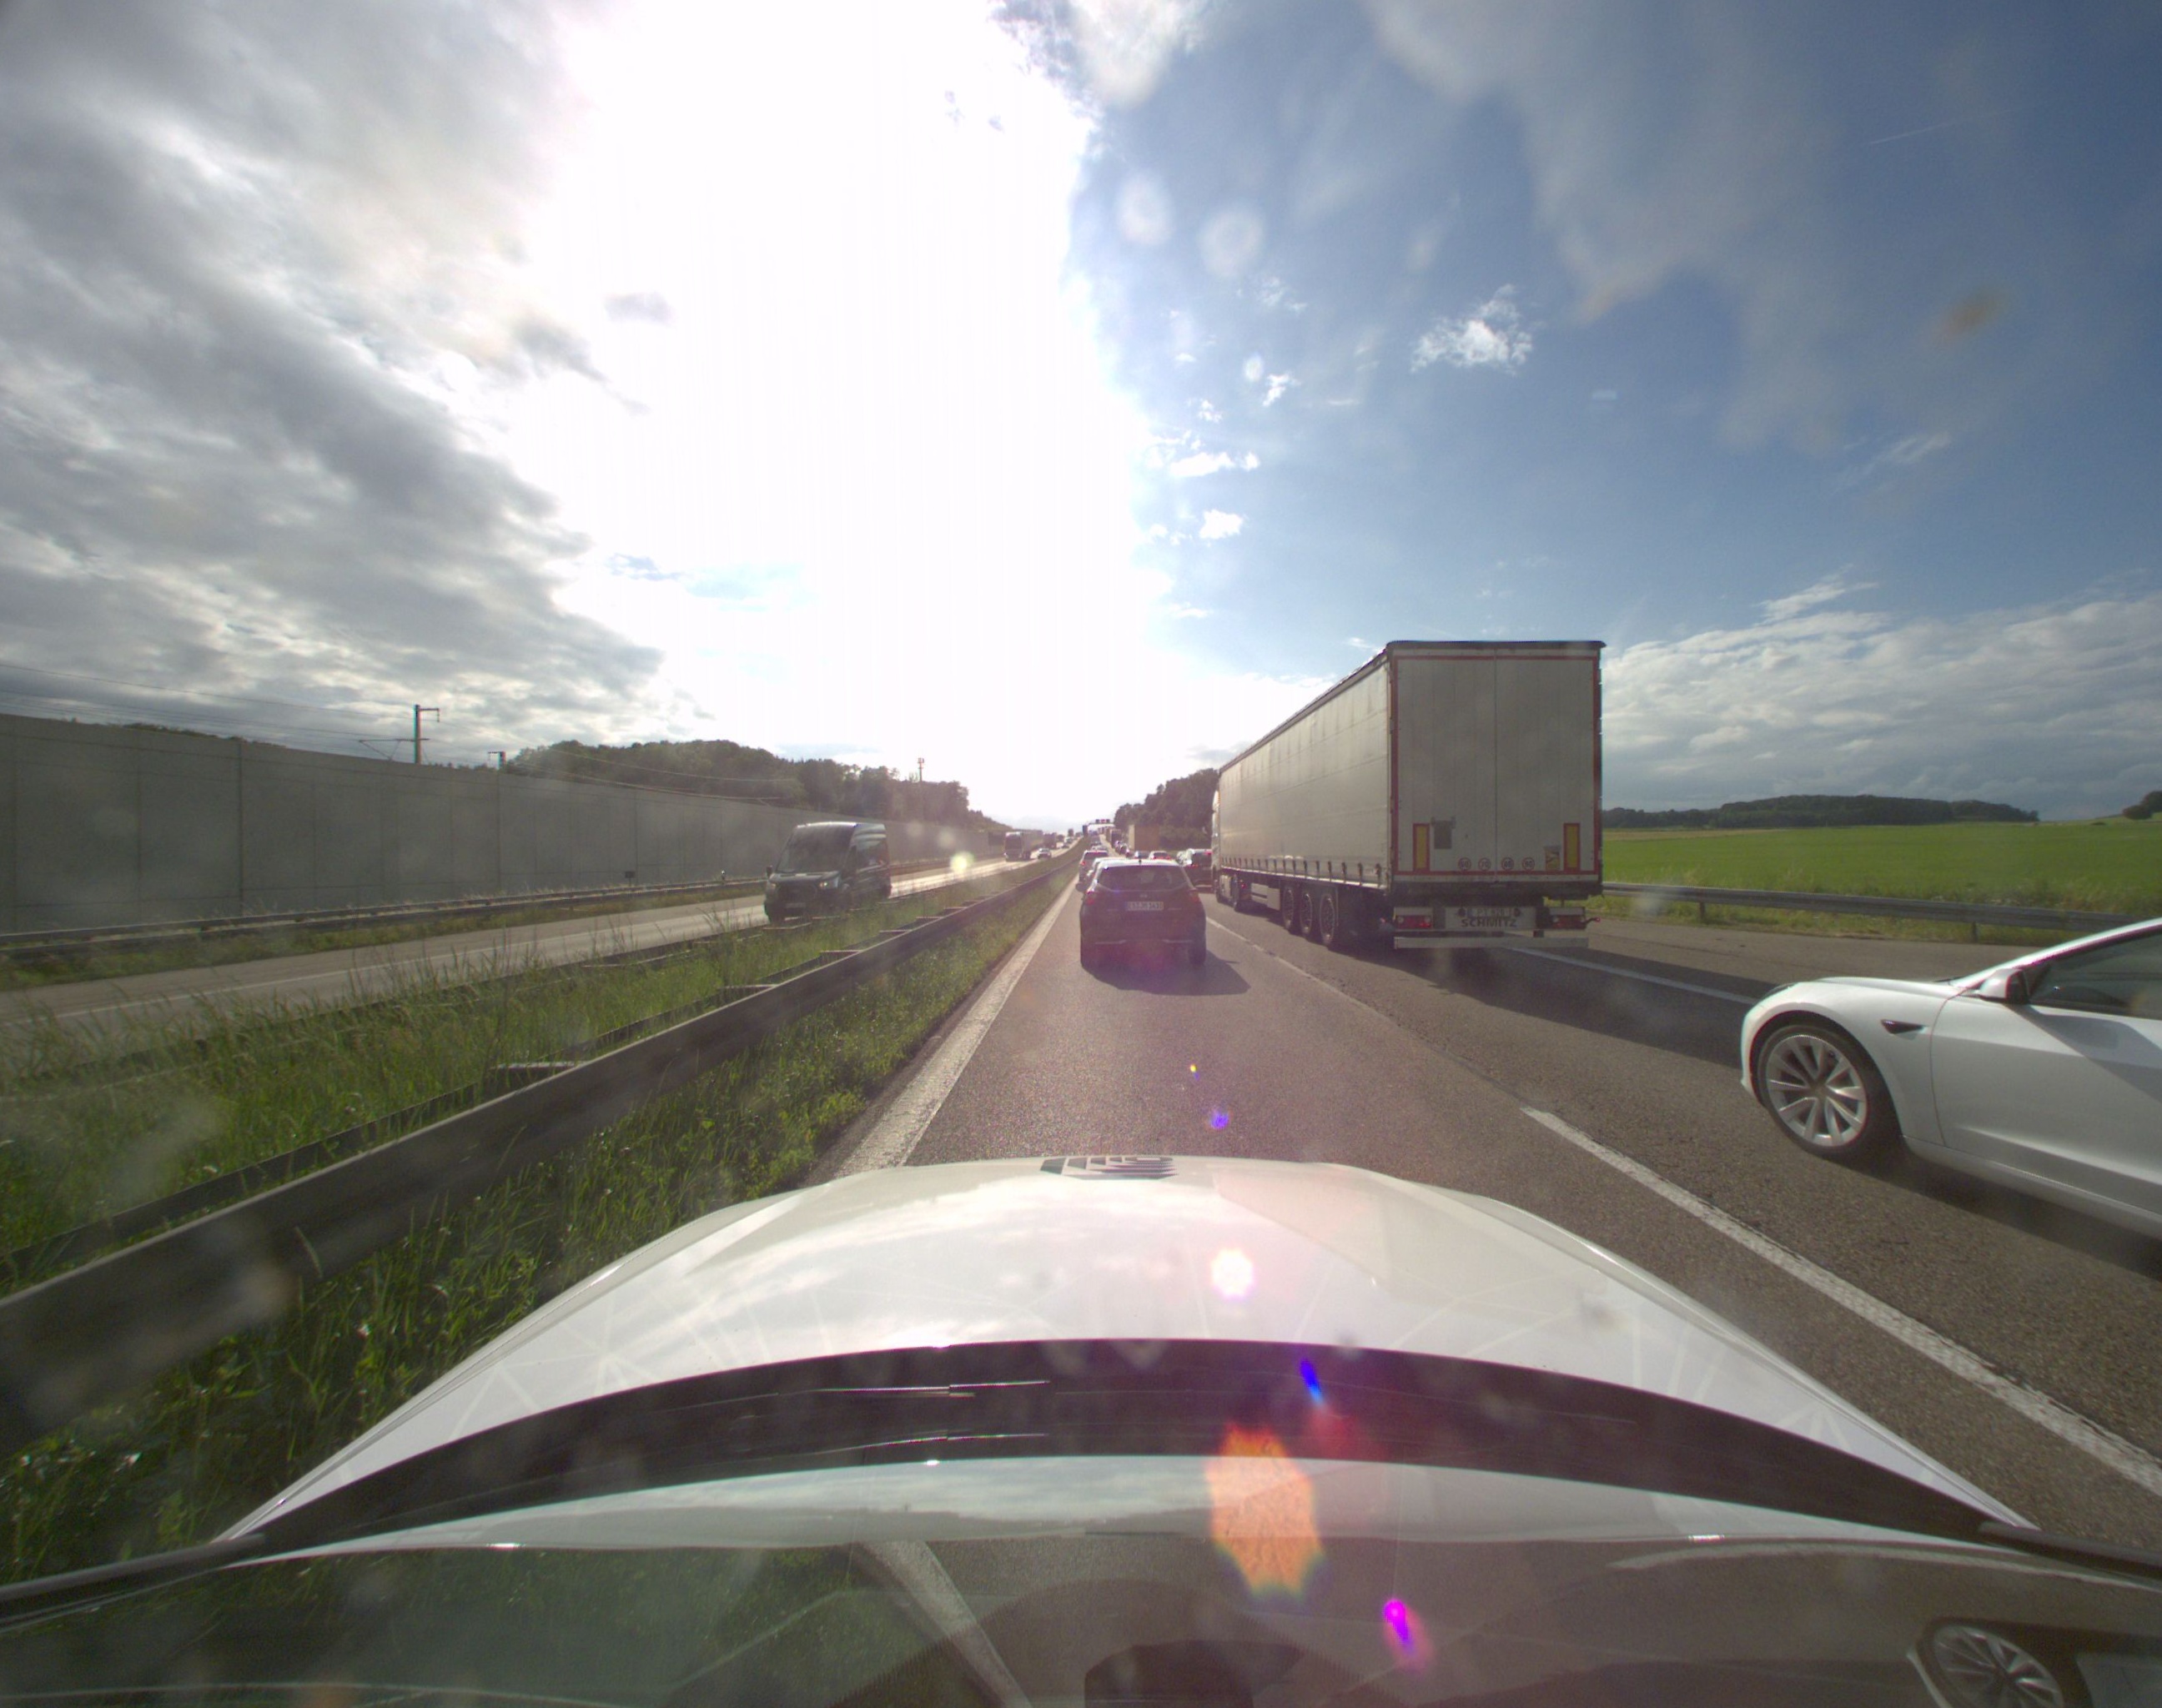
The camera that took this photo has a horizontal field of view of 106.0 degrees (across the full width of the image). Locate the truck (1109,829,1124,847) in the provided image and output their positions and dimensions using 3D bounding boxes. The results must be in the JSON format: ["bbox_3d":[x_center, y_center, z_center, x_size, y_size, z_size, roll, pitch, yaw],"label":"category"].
[{"bbox_3d":[9.291,-4.313,214.775,3.453,4.577,12.439,0,1,0],"label":"truck"}]

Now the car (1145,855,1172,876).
[{"bbox_3d":[6.334,0.909,66.648,1.866,1.644,4.233,-1,-1,1],"label":"car"}]

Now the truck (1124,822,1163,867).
[{"bbox_3d":[6.775,-0.902,89.632,3.286,4.577,12.437,0,-1,0],"label":"truck"}]

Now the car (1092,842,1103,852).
[{"bbox_3d":[2.815,-1.201,141.038,1.867,1.644,4.232,-1,1,0],"label":"car"}]

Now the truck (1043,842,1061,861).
[{"bbox_3d":[-6.973,-0.616,197.625,3.283,4.554,12.450,-1,0,3],"label":"truck"}]

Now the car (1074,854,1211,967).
[{"bbox_3d":[0.864,0.761,12.869,1.767,1.451,4.233,-1,0,1],"label":"car"}]

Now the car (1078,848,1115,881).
[{"bbox_3d":[0.845,0.547,44.210,1.866,1.644,4.233,-1,0,1],"label":"car"}]

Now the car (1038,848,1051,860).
[{"bbox_3d":[-5.273,0.024,118.941,1.738,1.706,4.230,0,-1,0],"label":"car"}]

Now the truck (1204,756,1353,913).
[{"bbox_3d":[5.447,-0.450,23.489,3.122,4.016,5.165,-1,-1,1],"label":"truck"}]

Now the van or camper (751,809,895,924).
[{"bbox_3d":[-7.016,0.349,22.985,2.083,2.819,5.896,0,-1,1],"label":"van or camper"}]

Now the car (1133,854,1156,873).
[{"bbox_3d":[6.052,0.878,77.860,1.866,1.644,4.233,-1,0,1],"label":"car"}]

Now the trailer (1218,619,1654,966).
[{"bbox_3d":[5.227,-0.579,16.144,3.119,4.011,13.370,-1,-1,2],"label":"trailer"}]

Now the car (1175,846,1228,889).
[{"bbox_3d":[4.880,0.548,33.493,1.691,1.611,4.439,-1,0,2],"label":"car"}]

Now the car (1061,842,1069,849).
[{"bbox_3d":[-3.823,-1.969,195.750,1.737,1.705,4.234,0,1,2],"label":"car"}]

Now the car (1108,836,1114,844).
[{"bbox_3d":[8.981,-4.280,244.222,1.867,2.158,5.213,-1,2,1],"label":"car"}]

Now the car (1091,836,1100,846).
[{"bbox_3d":[3.359,-3.049,185.774,1.867,2.158,5.213,-1,2,1],"label":"car"}]

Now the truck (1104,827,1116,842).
[{"bbox_3d":[9.334,-6.142,260.556,3.453,4.577,12.439,0,1,0],"label":"truck"}]

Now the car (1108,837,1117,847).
[{"bbox_3d":[7.221,-2.858,189.180,1.867,2.158,5.213,-1,2,1],"label":"car"}]

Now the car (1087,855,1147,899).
[{"bbox_3d":[1.206,0.751,28.046,1.866,1.358,4.233,-1,0,1],"label":"car"}]

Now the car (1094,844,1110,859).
[{"bbox_3d":[2.610,-0.332,101.731,1.866,1.644,4.234,-1,1,1],"label":"car"}]

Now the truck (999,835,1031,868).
[{"bbox_3d":[-9.573,-0.371,119.317,3.285,4.577,12.442,-1,0,1],"label":"truck"}]

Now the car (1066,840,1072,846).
[{"bbox_3d":[-3.448,-3.163,234.788,1.737,1.705,4.234,0,2,2],"label":"car"}]

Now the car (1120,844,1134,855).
[{"bbox_3d":[7.402,-0.689,132.160,1.868,1.644,4.229,-1,1,-2],"label":"car"}]

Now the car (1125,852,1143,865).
[{"bbox_3d":[6.530,0.540,100.986,1.867,1.644,4.232,-1,0,0],"label":"car"}]

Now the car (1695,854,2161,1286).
[{"bbox_3d":[4.440,0.707,2.459,1.783,1.394,4.435,-1,0,-1],"label":"car"}]

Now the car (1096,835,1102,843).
[{"bbox_3d":[5.317,-4.399,240.984,1.867,2.158,5.213,-1,2,1],"label":"car"}]
